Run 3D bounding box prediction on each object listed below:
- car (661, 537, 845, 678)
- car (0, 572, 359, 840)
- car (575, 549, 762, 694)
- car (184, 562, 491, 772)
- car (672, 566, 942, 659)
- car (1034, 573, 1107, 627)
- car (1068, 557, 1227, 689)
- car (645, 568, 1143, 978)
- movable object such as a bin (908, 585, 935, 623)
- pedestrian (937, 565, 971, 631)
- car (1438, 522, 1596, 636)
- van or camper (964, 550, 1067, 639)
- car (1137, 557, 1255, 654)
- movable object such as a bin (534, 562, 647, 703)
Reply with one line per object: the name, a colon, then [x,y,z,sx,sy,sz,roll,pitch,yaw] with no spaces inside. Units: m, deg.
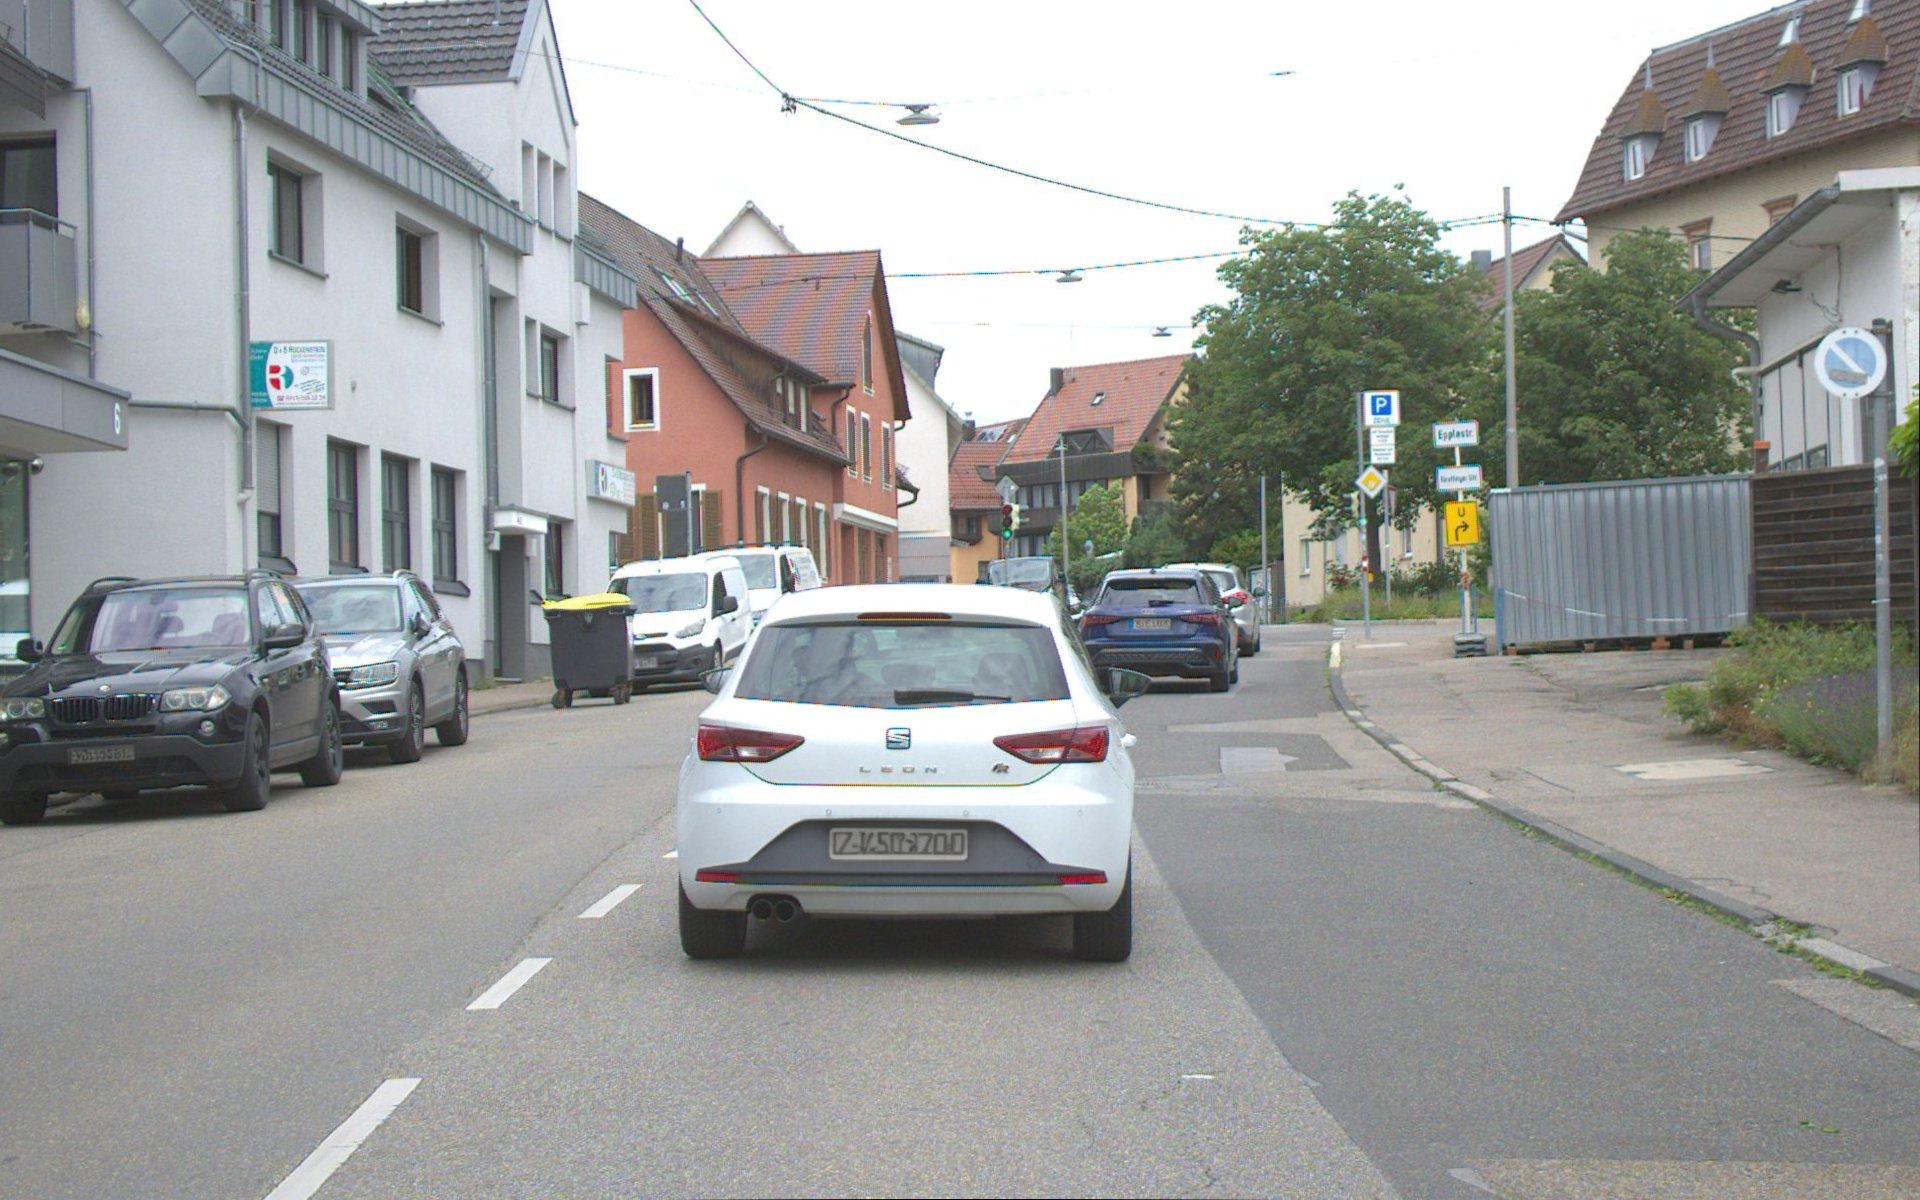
car: [-3.162,0.099,53.455,1.812,1.999,4.761,-3,0,8]
car: [-5.584,0.673,24.279,1.837,1.627,4.408,-3,1,0]
car: [-3.996,0.252,47.809,1.734,1.825,4.297,-3,0,6]
car: [-5.381,0.520,30.247,1.837,1.627,4.408,-3,1,0]
car: [-2.782,0.218,62.923,4.555,1.440,1.999,-3,0,10]
car: [3.421,0.014,107.520,1.997,1.628,4.857,0,-1,-1]
car: [2.250,0.247,40.513,1.759,1.447,3.999,-1,0,4]
car: [-0.135,0.626,14.388,1.758,1.447,3.999,-1,0,3]
movable object such as a bin: [-1.084,0.111,96.285,0.665,1.015,0.795,-2,0,3]
pedestrian: [-0.152,-0.057,93.169,0.800,1.779,0.892,-1,0,6]
car: [9.180,-0.360,56.967,1.746,1.733,4.572,-3,1,0]
van or camper: [1.441,-0.108,86.983,2.074,1.999,4.856,-3,-2,6]
car: [3.724,0.114,54.126,1.758,1.447,3.999,-1,-1,4]
movable object such as a bin: [-4.483,0.380,41.856,1.140,1.627,1.563,-3,1,0]
